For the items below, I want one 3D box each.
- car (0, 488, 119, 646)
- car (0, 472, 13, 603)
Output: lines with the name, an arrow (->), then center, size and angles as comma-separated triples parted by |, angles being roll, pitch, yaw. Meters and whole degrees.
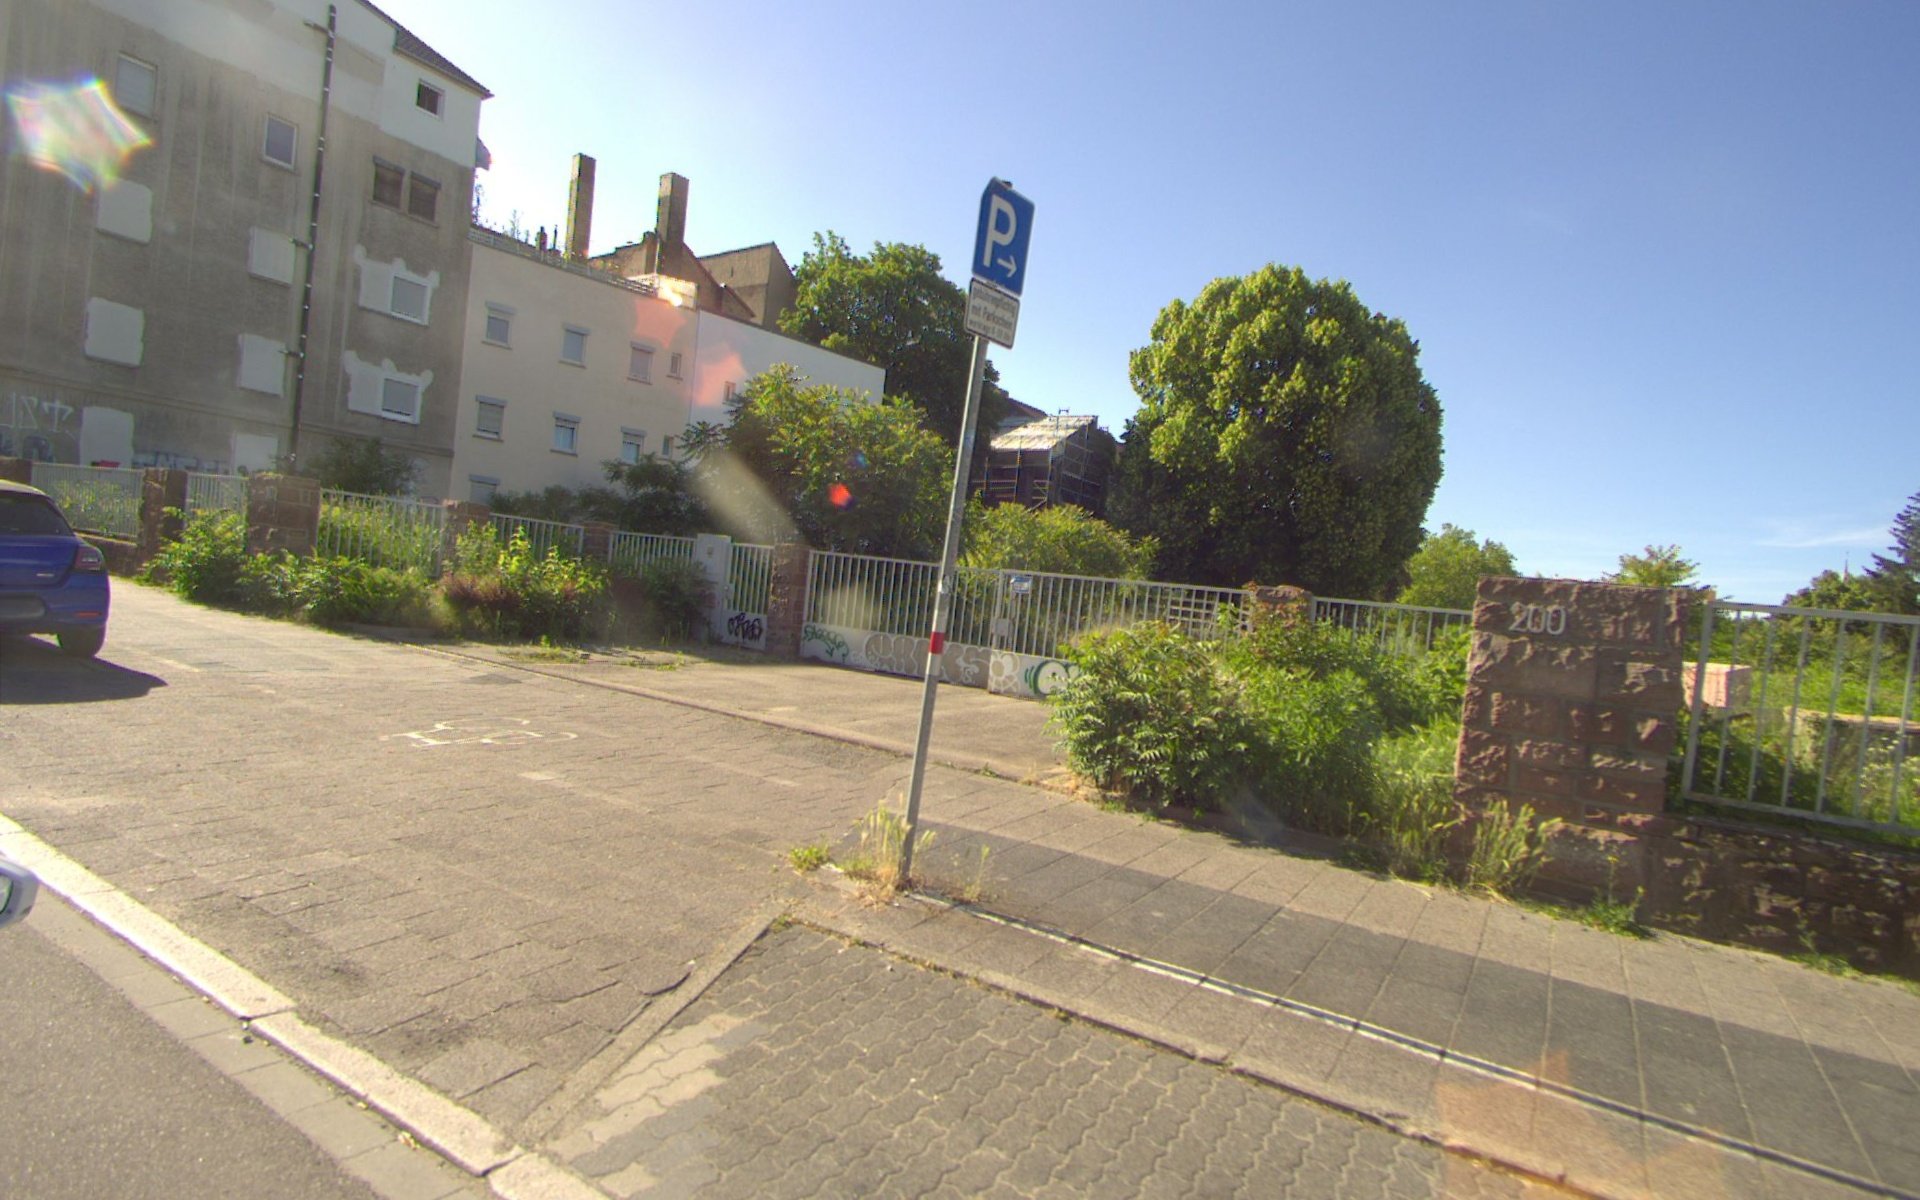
car -> -9.285, -0.430, 8.883 | 3.835, 1.199, 1.667 | 7, 4, 30
car -> -12.862, -0.905, 11.623 | 3.917, 1.480, 1.668 | 7, 4, 28
